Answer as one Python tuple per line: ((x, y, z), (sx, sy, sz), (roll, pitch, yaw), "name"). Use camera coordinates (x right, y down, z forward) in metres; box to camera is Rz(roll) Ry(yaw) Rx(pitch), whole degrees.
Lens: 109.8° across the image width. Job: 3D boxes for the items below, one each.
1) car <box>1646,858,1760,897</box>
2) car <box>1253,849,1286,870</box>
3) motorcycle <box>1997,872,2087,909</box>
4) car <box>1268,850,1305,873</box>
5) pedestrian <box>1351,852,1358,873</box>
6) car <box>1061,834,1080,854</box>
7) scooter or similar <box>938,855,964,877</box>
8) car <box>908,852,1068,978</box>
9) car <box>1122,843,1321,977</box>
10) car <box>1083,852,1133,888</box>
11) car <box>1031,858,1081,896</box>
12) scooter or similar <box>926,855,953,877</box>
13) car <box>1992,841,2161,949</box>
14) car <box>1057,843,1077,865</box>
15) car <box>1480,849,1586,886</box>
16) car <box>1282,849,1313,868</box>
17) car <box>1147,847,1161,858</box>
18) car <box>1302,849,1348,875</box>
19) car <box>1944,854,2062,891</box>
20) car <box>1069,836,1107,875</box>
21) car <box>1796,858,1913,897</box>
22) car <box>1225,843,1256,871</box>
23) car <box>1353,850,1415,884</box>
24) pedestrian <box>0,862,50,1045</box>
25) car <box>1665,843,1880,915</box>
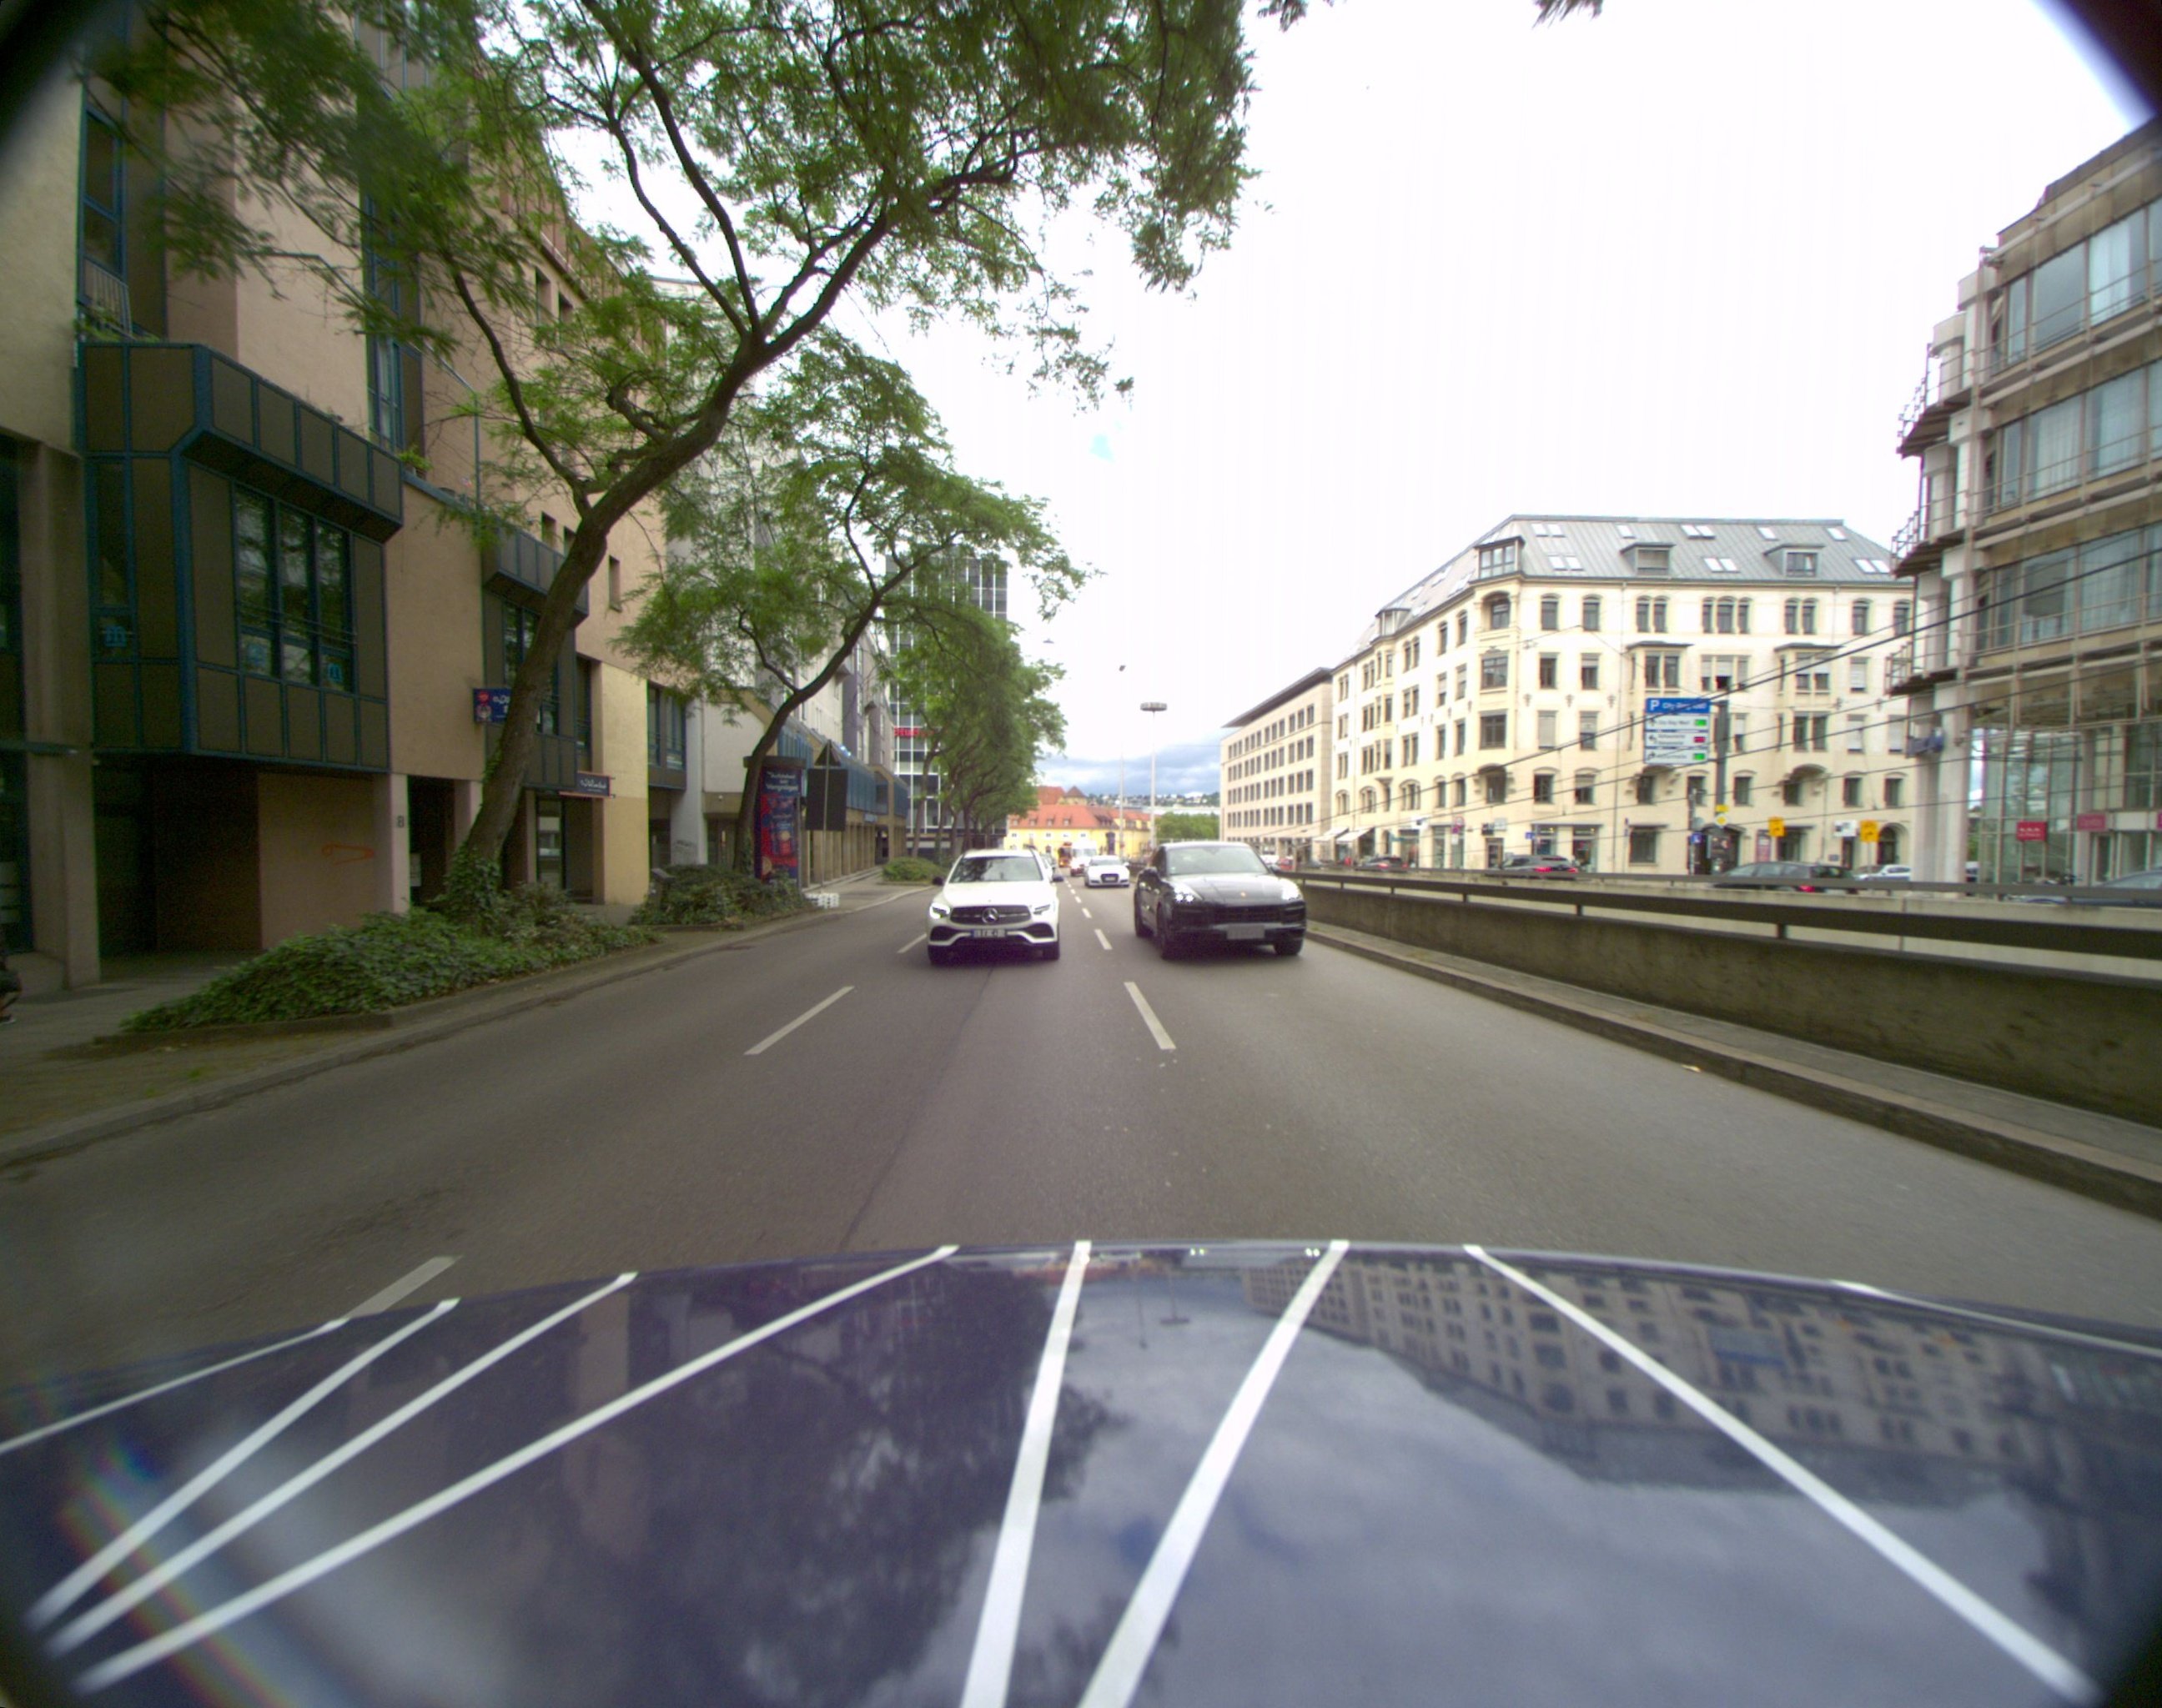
((26.876, 0.999, 32.899), (3.649, 1.652, 1.649), (0, 1, -4), "car")
((19.086, 0.560, 77.277), (1.999, 2.002, 4.789), (-1, 1, -1), "car")
((30.578, 1.147, 24.211), (0.645, 1.069, 1.670), (-2, 1, -21), "motorcycle")
((19.143, 0.692, 70.953), (1.999, 2.002, 4.789), (-1, 1, -1), "car")
((22.711, 0.719, 63.137), (0.510, 1.769, 0.578), (0, 1, 22), "pedestrian")
((-1.481, -1.445, 108.289), (2.503, 2.793, 5.727), (-1, 1, 0), "car")
((-8.720, 0.800, 50.922), (1.536, 1.425, 0.686), (-2, 1, -32), "scooter or similar")
((-1.282, 0.801, 12.026), (2.060, 1.599, 3.926), (-1, 1, -2), "car")
((1.939, 0.718, 12.377), (2.088, 1.665, 5.351), (-1, 0, -2), "car")
((1.207, 0.698, 35.567), (1.950, 1.521, 3.998), (-1, 1, -3), "car")
((-1.034, 0.901, 31.748), (1.890, 1.378, 4.609), (-1, 1, -2), "car")
((-9.700, 0.799, 52.087), (1.600, 1.425, 0.730), (-2, 1, -32), "scooter or similar")
((20.744, 0.755, 14.254), (1.999, 1.903, 4.377), (-1, 2, -1), "car")
((-1.844, -0.042, 100.811), (2.503, 2.793, 5.727), (-1, 1, 0), "car")
((20.301, 0.563, 34.382), (1.818, 1.551, 4.641), (0, 0, -3), "car")
((22.540, 0.444, 79.175), (1.999, 2.002, 3.999), (0, 0, -2), "car")
((12.404, -0.259, 130.062), (1.999, 2.002, 4.000), (0, 0, 0), "car")
((19.648, 0.613, 61.427), (1.999, 2.002, 4.789), (-1, 1, -1), "car")
((42.087, 0.823, 34.731), (3.599, 1.652, 1.649), (0, 1, -5), "car")
((0.563, 0.085, 55.938), (2.294, 2.723, 4.755), (-1, 1, 6), "car")
((33.776, 1.017, 33.227), (3.599, 1.652, 1.649), (0, 1, -5), "car")
((18.715, 0.323, 89.453), (2.370, 3.043, 5.468), (-1, 1, -1), "car")
((19.747, 0.801, 49.788), (1.999, 2.002, 4.789), (-1, 1, -1), "car")
((-10.446, 0.933, 7.094), (0.711, 1.701, 0.688), (0, 0, 5), "pedestrian")
((20.578, 0.669, 22.968), (1.999, 1.952, 4.789), (0, 0, -3), "car")
